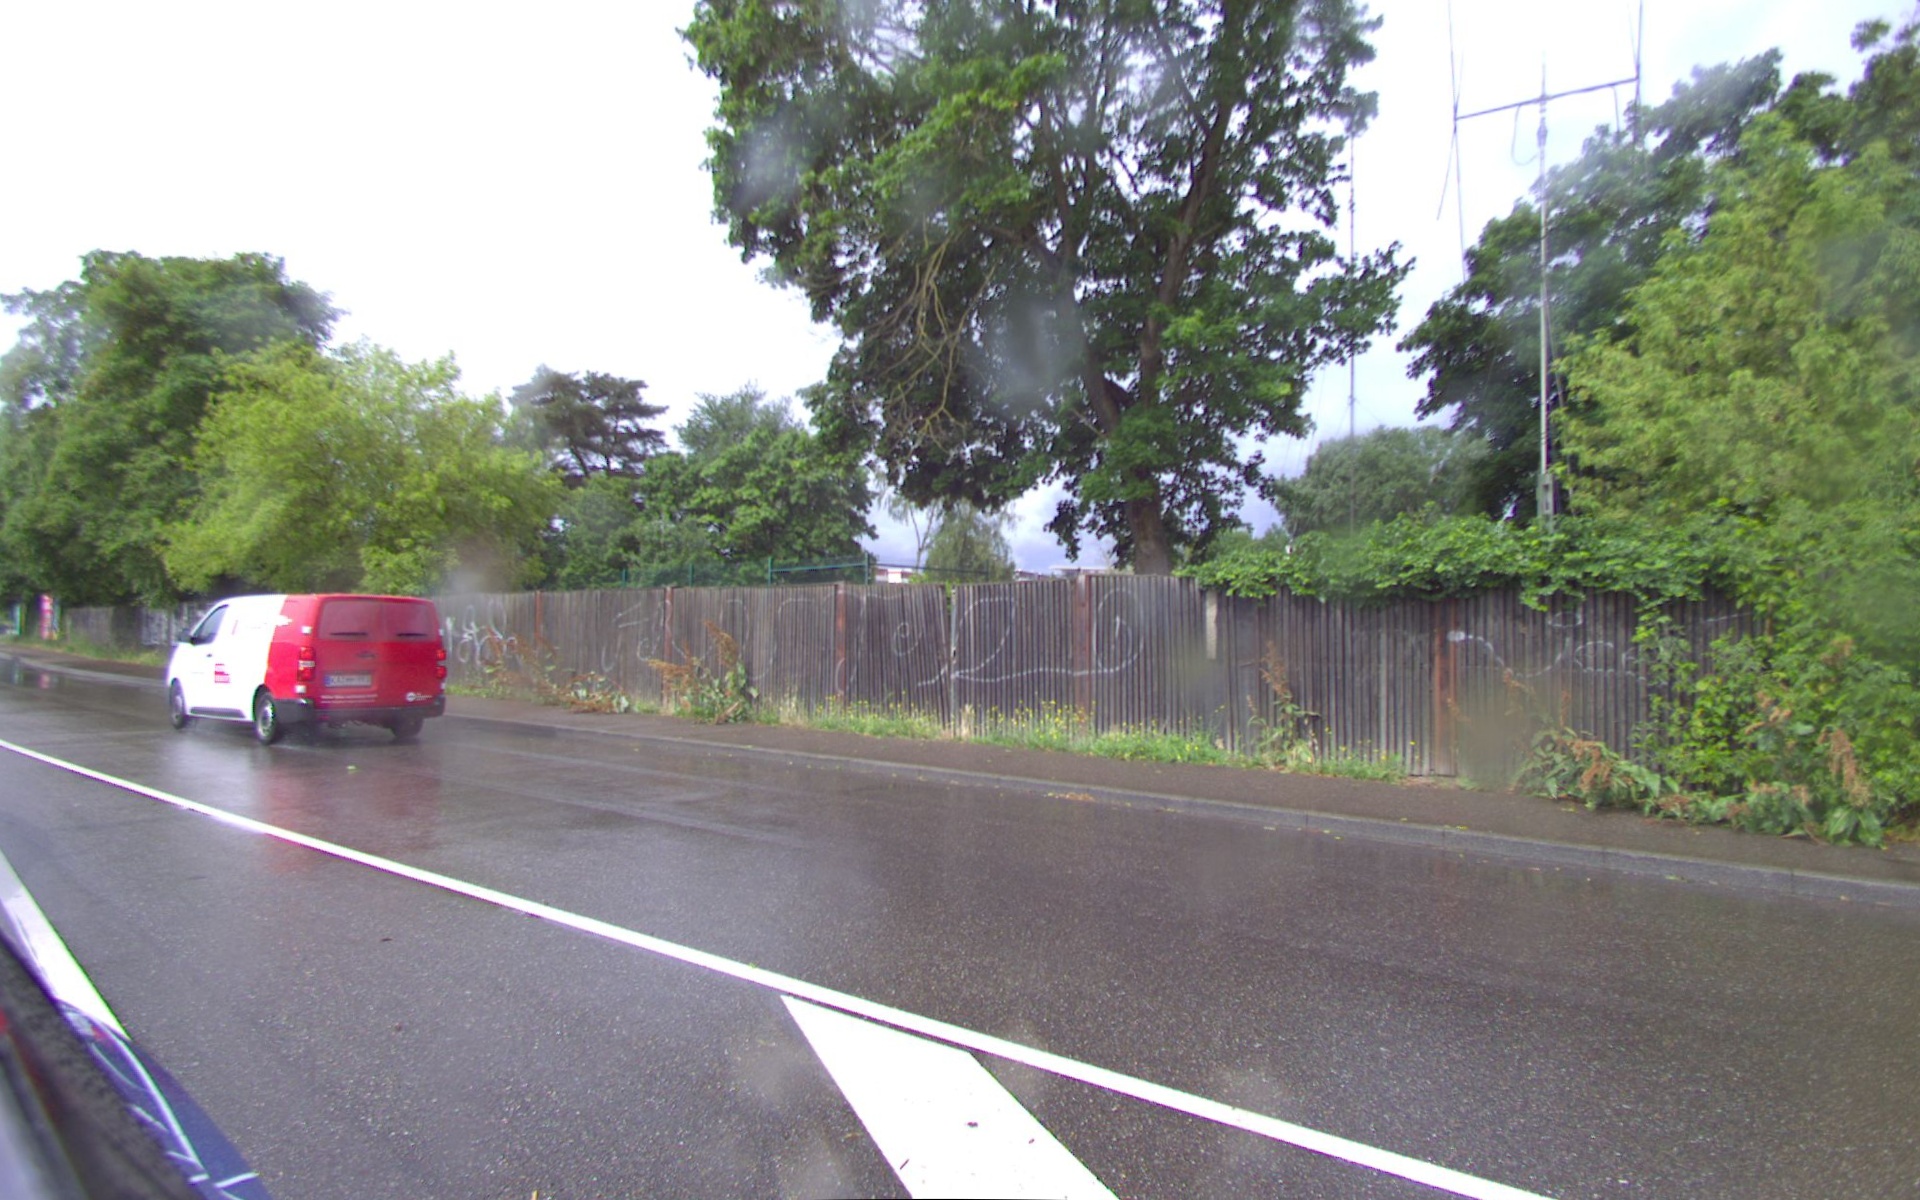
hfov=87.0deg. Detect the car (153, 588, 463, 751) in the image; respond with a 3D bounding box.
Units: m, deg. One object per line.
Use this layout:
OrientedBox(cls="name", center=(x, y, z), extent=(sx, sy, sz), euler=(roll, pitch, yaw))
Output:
OrientedBox(cls="car", center=(-9.120, 0.873, 13.987), extent=(5.122, 1.890, 1.871), euler=(-1, -3, 36))
